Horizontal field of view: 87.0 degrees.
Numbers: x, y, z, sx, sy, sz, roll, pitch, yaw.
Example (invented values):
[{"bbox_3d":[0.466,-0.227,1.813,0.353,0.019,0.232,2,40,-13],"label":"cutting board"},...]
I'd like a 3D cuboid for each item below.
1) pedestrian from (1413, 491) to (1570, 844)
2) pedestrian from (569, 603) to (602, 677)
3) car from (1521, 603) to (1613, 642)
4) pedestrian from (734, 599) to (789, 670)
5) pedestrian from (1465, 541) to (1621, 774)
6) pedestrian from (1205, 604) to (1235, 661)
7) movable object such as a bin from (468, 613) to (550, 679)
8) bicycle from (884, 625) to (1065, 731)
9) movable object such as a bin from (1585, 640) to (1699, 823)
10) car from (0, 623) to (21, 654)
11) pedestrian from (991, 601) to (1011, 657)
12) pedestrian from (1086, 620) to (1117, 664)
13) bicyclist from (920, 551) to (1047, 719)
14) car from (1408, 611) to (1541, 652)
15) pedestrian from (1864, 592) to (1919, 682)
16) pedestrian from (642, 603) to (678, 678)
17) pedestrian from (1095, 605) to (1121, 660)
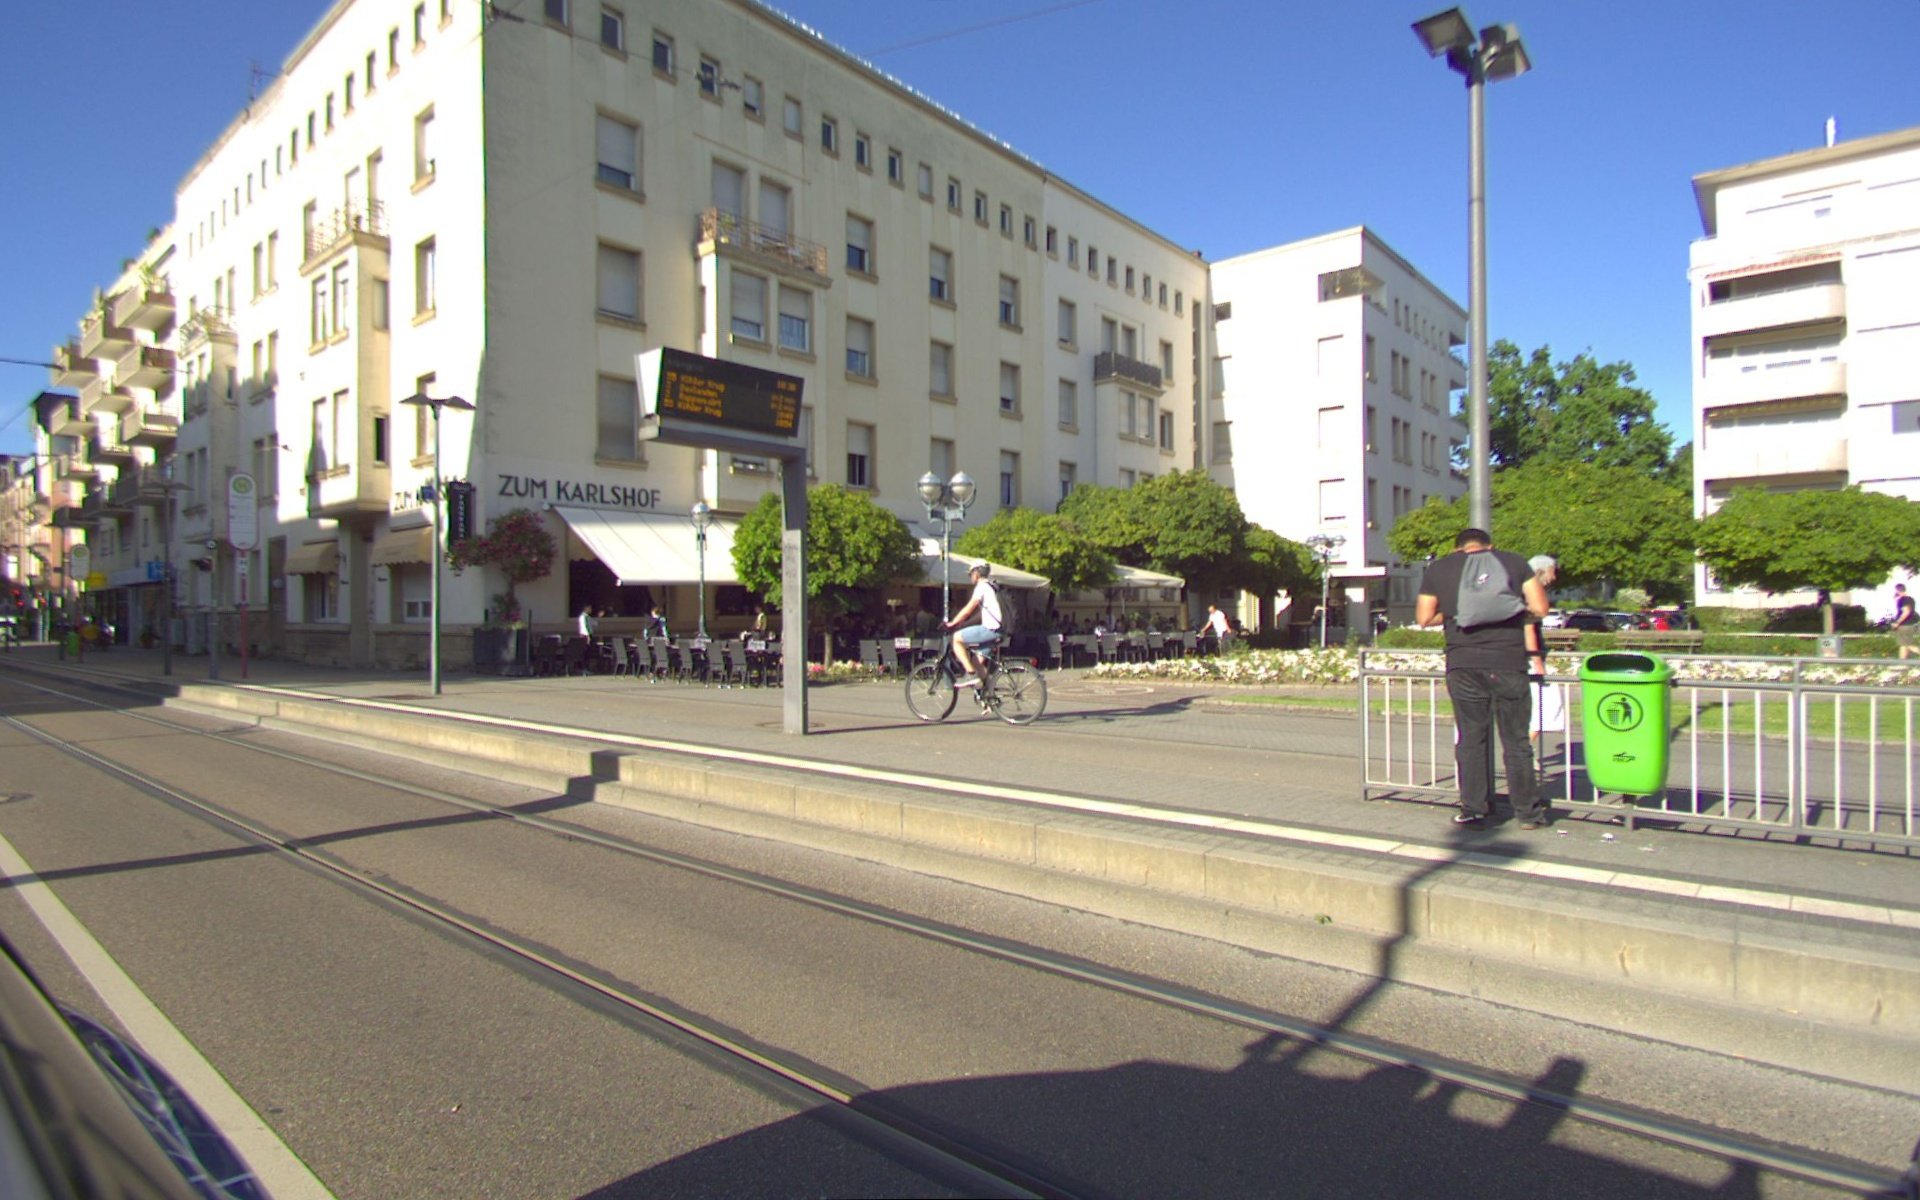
[{"bbox_3d":[2.821,0.342,5.377,0.607,1.731,0.542,-1,-3,43],"label":"pedestrian"},{"bbox_3d":[-8.525,0.915,23.015,0.662,1.657,0.753,0,-4,-22],"label":"pedestrian"},{"bbox_3d":[24.276,0.884,40.500,2.932,1.497,1.399,-1,-1,41],"label":"car"},{"bbox_3d":[-4.738,0.805,24.154,0.755,1.657,1.054,-1,-1,36],"label":"pedestrian"},{"bbox_3d":[4.653,0.439,8.063,0.972,1.693,0.984,-1,-3,35],"label":"pedestrian"},{"bbox_3d":[8.287,1.046,32.324,0.710,1.750,0.673,-2,-4,1],"label":"pedestrian"},{"bbox_3d":[-9.970,0.990,22.363,1.127,1.410,1.302,-1,-1,40],"label":"movable object such as a bin"},{"bbox_3d":[0.140,0.859,11.672,2.030,1.134,0.706,-1,-2,33],"label":"bicycle"},{"bbox_3d":[3.460,0.643,5.137,0.416,0.866,0.332,-2,-1,44],"label":"movable object such as a bin"},{"bbox_3d":[-66.971,2.639,69.036,3.932,2.133,1.884,0,-1,-31],"label":"car"},{"bbox_3d":[1.362,0.966,33.753,0.641,1.837,0.576,-1,-1,5],"label":"pedestrian"},{"bbox_3d":[4.283,1.282,30.703,0.672,1.280,0.636,-5,-5,36],"label":"pedestrian"},{"bbox_3d":[0.272,0.390,11.577,1.092,1.807,0.996,-1,-1,33],"label":"bicyclist"},{"bbox_3d":[17.639,1.061,34.780,3.713,1.310,1.973,-1,-1,41],"label":"car"},{"bbox_3d":[19.633,0.740,20.813,1.063,1.801,1.181,0,-1,-23],"label":"pedestrian"},{"bbox_3d":[-6.809,0.928,22.997,0.663,1.657,0.678,-1,-4,-8],"label":"pedestrian"},{"bbox_3d":[4.792,1.057,32.750,0.677,1.750,0.671,-3,-4,14],"label":"pedestrian"}]
